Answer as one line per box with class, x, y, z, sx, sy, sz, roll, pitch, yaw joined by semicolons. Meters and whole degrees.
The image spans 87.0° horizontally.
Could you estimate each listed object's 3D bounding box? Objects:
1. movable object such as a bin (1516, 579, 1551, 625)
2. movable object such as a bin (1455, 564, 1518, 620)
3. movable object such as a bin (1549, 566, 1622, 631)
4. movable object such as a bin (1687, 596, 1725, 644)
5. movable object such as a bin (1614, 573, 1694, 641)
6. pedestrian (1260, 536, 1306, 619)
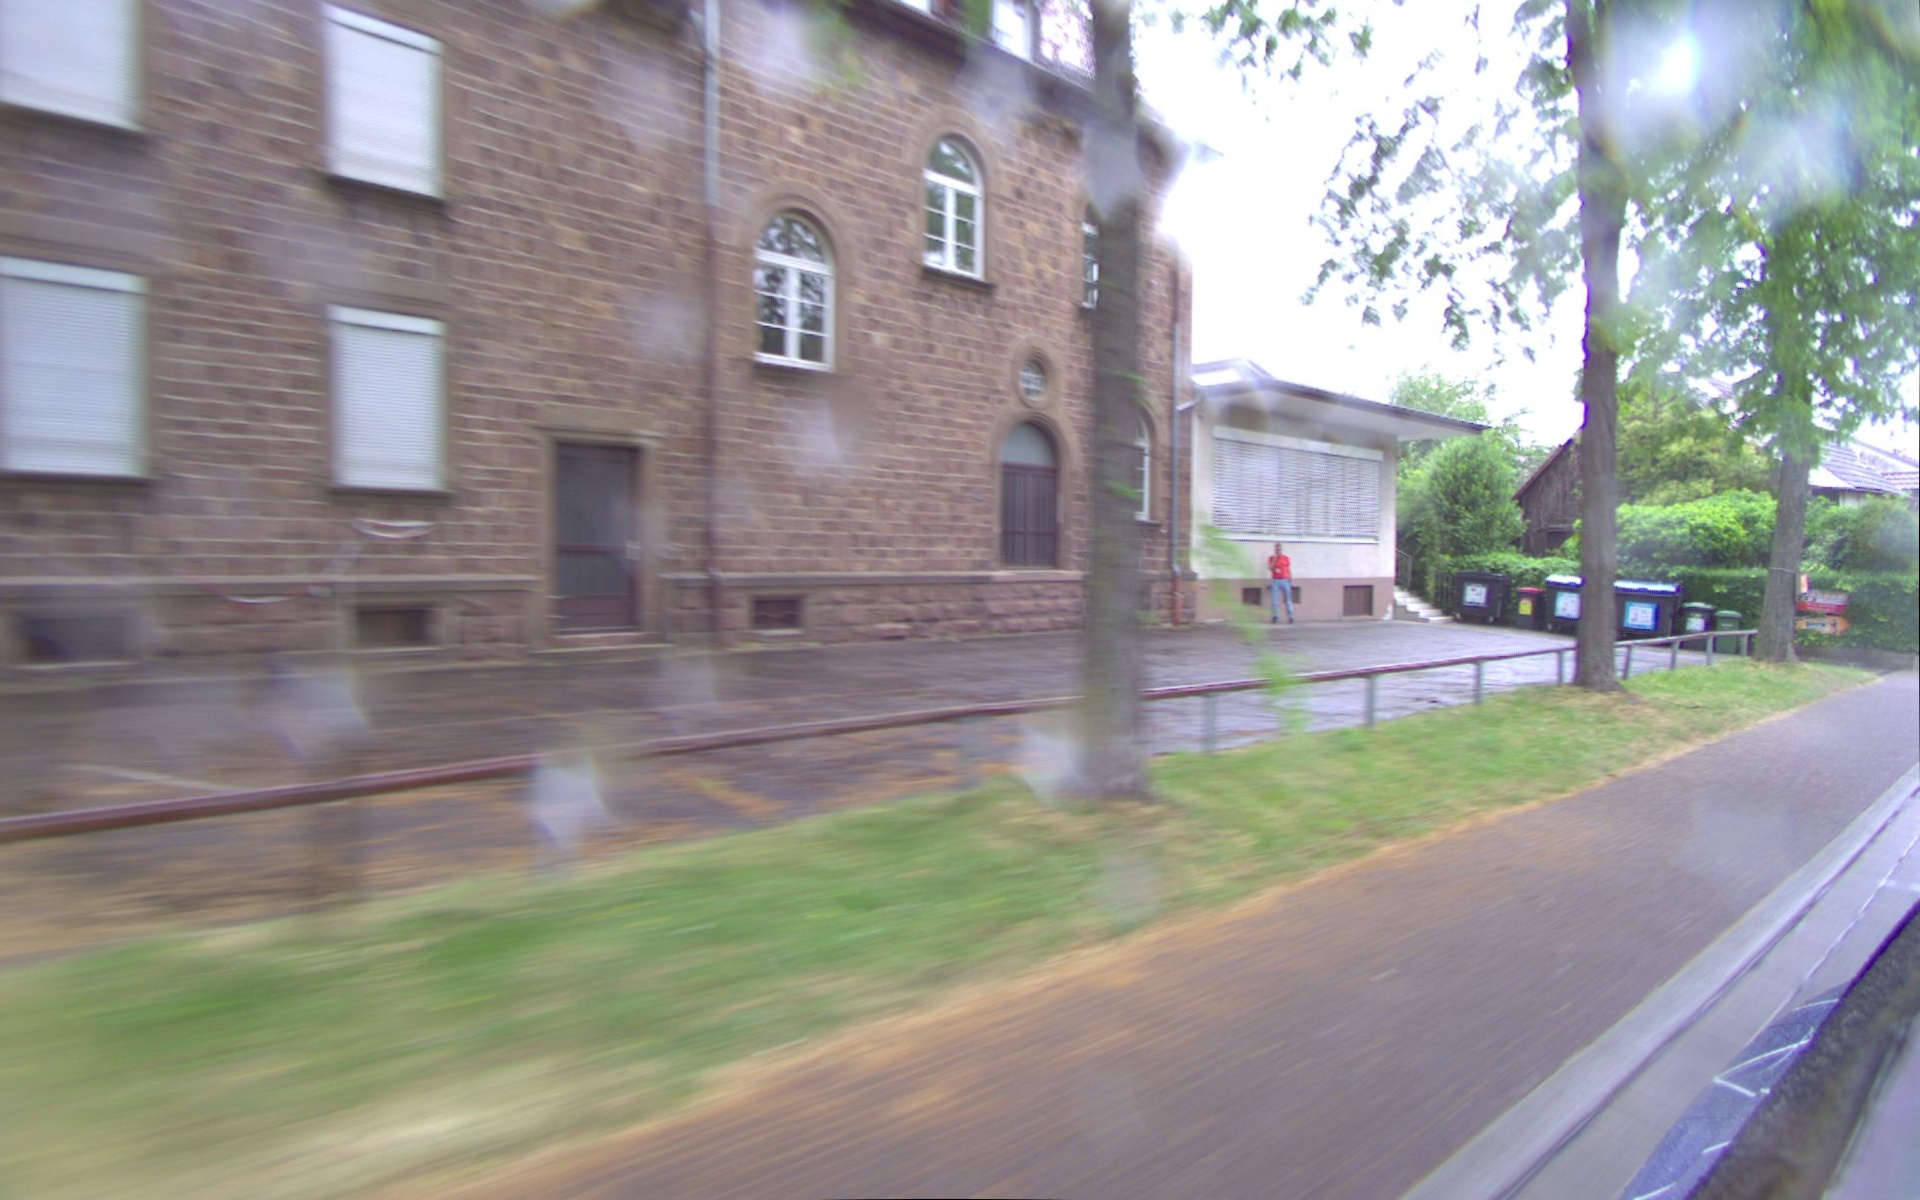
movable object such as a bin;14.573;0.043;25.702;0.521;1.092;0.568;-1;5;-42
movable object such as a bin;13.761;-0.226;26.479;0.782;1.358;1.151;0;6;-41
movable object such as a bin;15.335;-0.055;24.812;0.782;1.453;1.238;-1;6;-42
movable object such as a bin;16.871;0.444;22.886;0.455;1.035;0.538;-1;5;-42
movable object such as a bin;16.161;0.137;23.593;0.782;1.435;1.296;-1;5;-42
pedestrian;7.100;-0.491;22.267;0.851;1.776;0.535;1;2;-41
